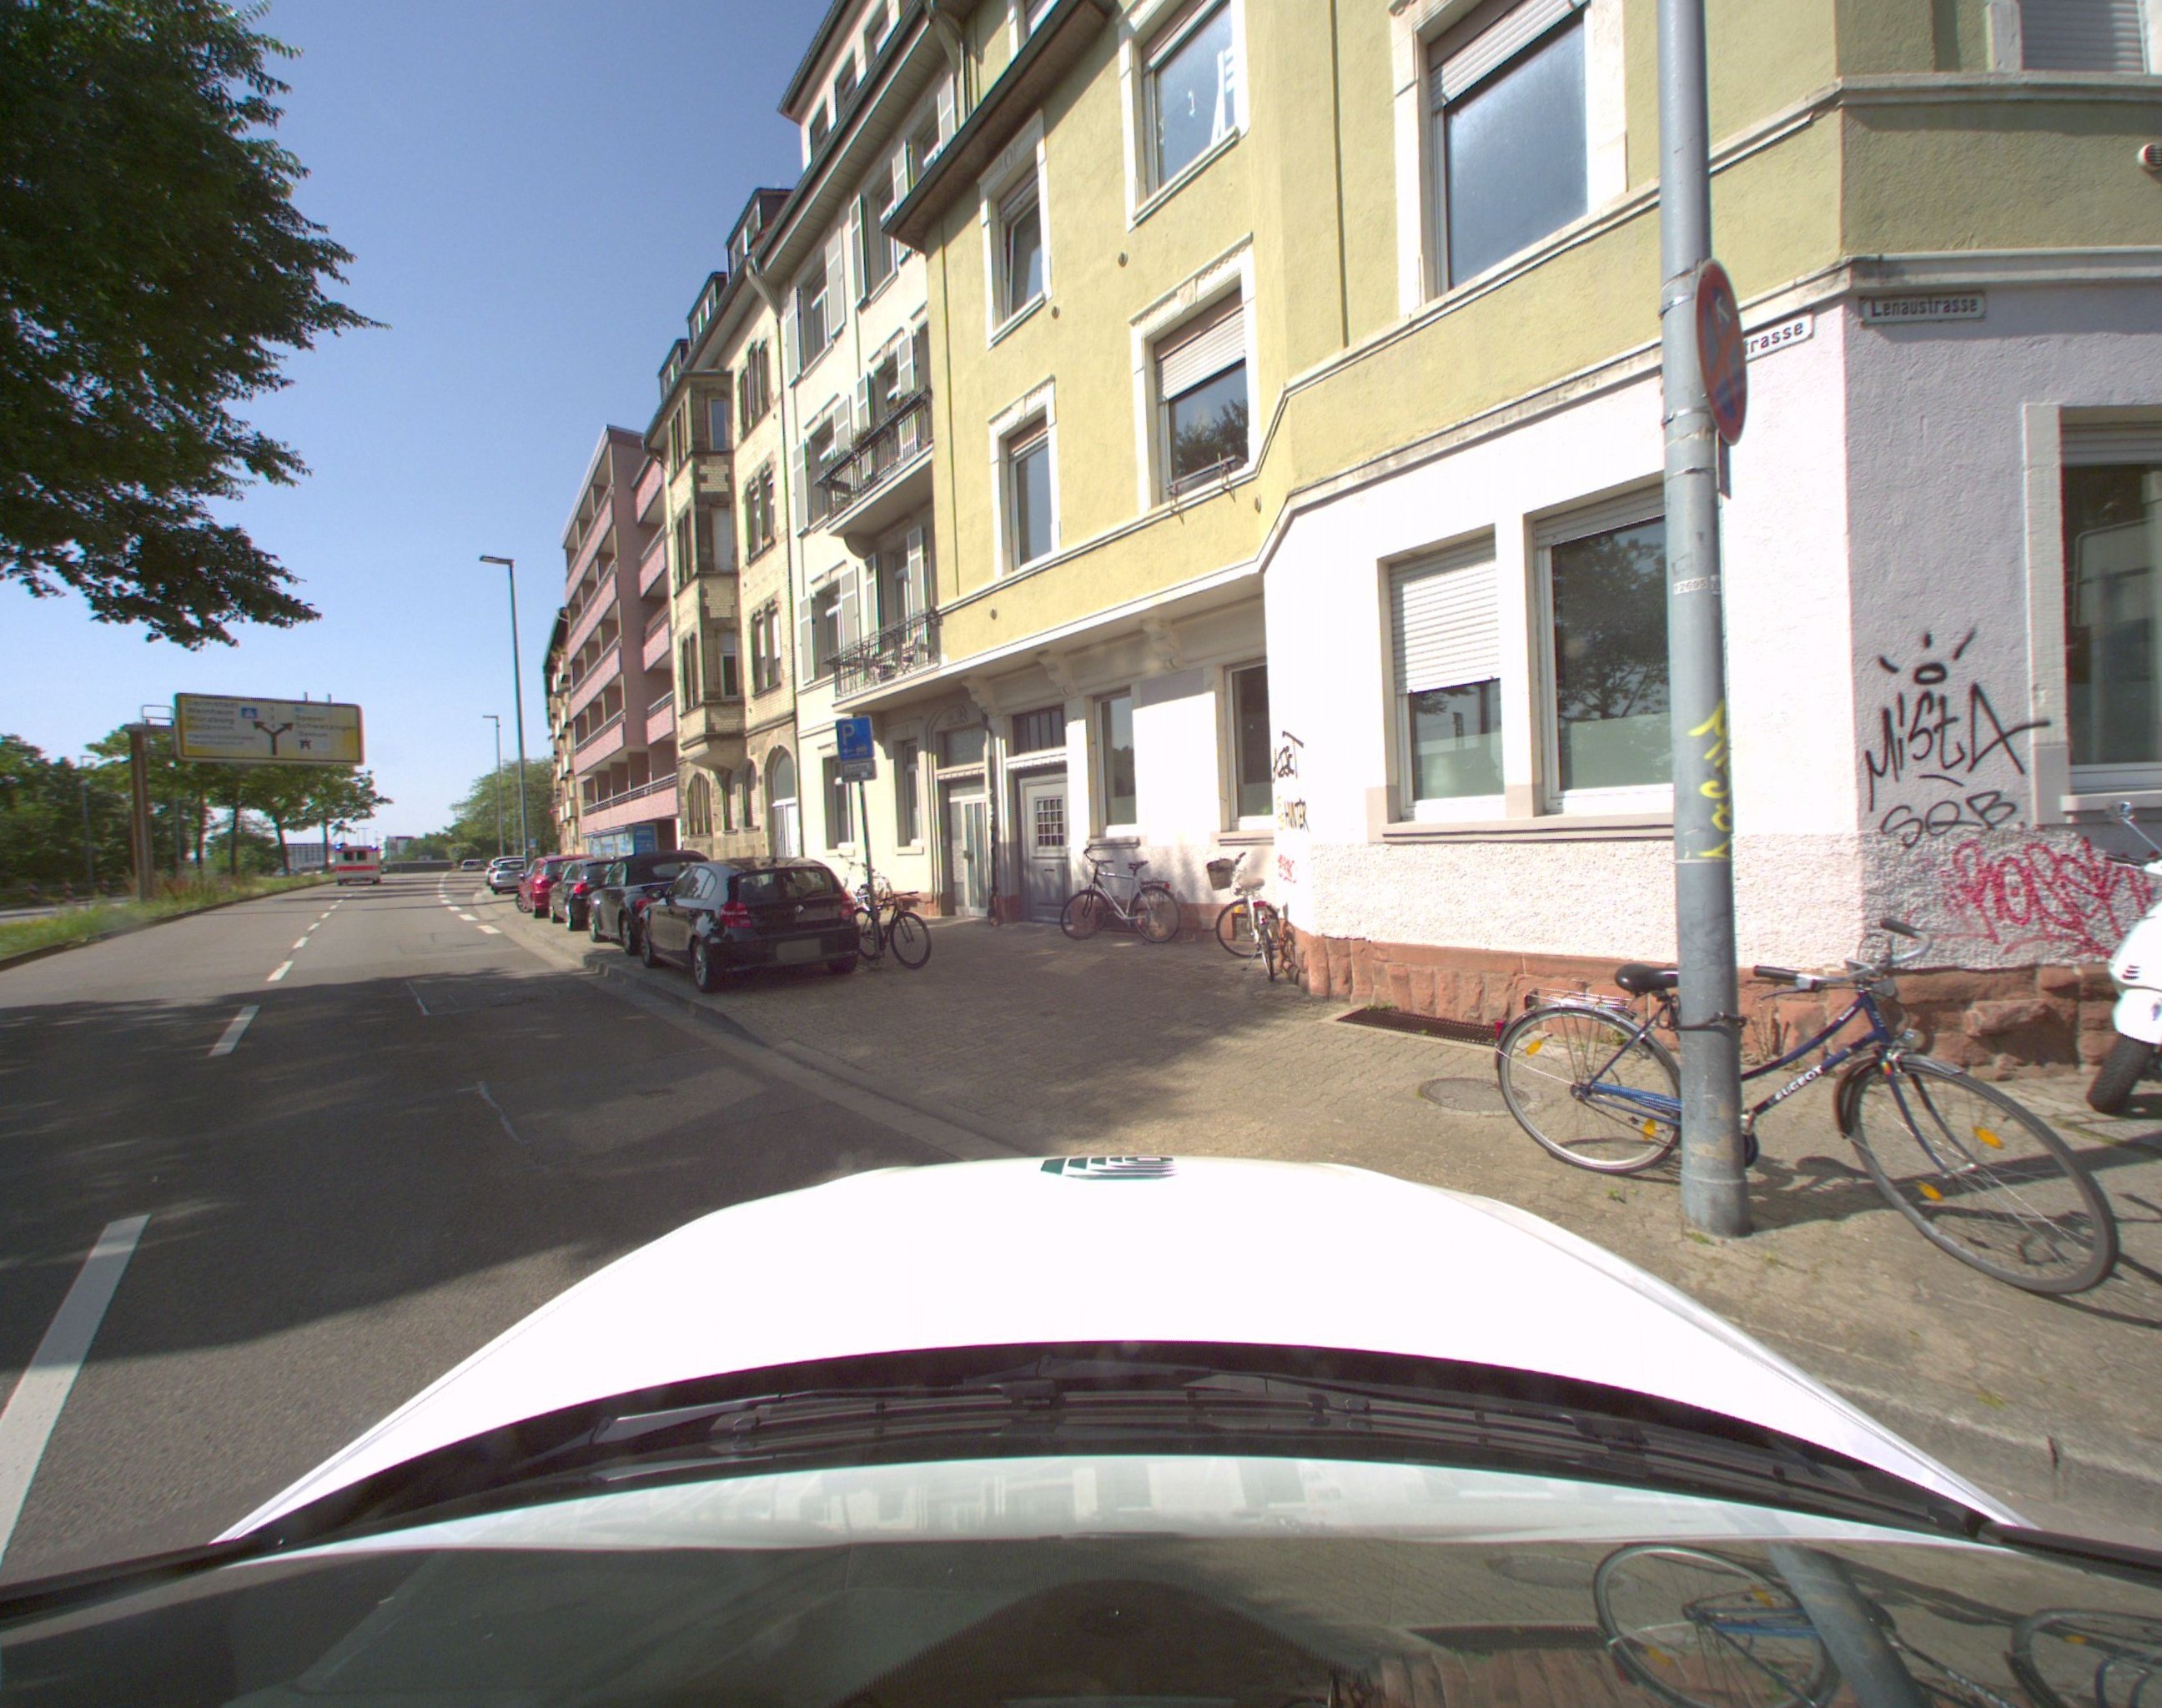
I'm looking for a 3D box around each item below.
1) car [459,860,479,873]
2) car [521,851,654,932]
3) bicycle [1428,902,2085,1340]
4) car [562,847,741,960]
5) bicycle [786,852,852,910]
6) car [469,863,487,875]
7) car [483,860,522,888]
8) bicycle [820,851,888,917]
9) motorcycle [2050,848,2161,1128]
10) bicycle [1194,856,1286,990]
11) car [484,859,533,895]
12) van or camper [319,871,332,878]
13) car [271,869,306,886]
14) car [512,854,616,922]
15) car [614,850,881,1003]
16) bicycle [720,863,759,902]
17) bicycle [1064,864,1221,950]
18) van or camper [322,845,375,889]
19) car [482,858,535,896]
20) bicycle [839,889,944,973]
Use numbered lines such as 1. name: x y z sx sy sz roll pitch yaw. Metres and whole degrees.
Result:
1. car: -77.192 1.580 102.706 1.631 1.505 3.426 -2 1 -32
2. car: -10.616 0.738 17.392 1.657 1.452 4.077 -4 2 -42
3. bicycle: 2.273 0.764 2.994 0.582 1.087 1.713 -3 1 -45
4. car: -7.256 0.730 13.562 1.657 1.501 3.962 -5 2 -42
5. bicycle: -5.681 0.564 17.633 0.661 1.146 1.606 -6 3 -43
6. car: -82.286 2.008 111.220 1.785 1.579 4.141 -3 1 -35
7. car: -33.475 1.111 47.076 1.770 1.506 4.082 -2 0 -36
8. bicycle: -4.551 0.567 16.251 0.571 1.180 1.607 -6 6 -43
9. motorcycle: 5.466 0.533 3.544 1.749 1.150 0.475 -3 2 7
10. bicycle: 1.497 0.598 7.925 0.534 1.046 1.829 -3 2 2
11. car: -27.674 1.077 39.310 1.750 1.541 4.305 -4 2 -36
12. van or camper: -148.661 4.031 160.342 1.479 1.350 4.577 -3 1 -38
13. car: -84.099 2.483 86.484 1.657 1.415 3.932 -9 6 -31
14. car: -13.579 0.816 21.286 1.800 1.482 3.954 -5 2 -39
15. car: -4.260 0.736 10.027 1.756 1.416 4.032 -4 2 -42
16. bicycle: -9.150 0.736 21.789 0.512 0.970 1.633 -4 2 -39
17. bicycle: 0.734 0.627 10.403 0.613 0.945 2.088 -6 3 -42
18. van or camper: -51.240 0.898 57.091 2.315 2.789 5.507 -3 1 -39
19. car: -24.865 0.952 35.372 1.691 1.408 3.393 -6 3 -36
20. bicycle: -2.327 0.901 9.892 0.452 0.891 1.562 -5 3 -44
